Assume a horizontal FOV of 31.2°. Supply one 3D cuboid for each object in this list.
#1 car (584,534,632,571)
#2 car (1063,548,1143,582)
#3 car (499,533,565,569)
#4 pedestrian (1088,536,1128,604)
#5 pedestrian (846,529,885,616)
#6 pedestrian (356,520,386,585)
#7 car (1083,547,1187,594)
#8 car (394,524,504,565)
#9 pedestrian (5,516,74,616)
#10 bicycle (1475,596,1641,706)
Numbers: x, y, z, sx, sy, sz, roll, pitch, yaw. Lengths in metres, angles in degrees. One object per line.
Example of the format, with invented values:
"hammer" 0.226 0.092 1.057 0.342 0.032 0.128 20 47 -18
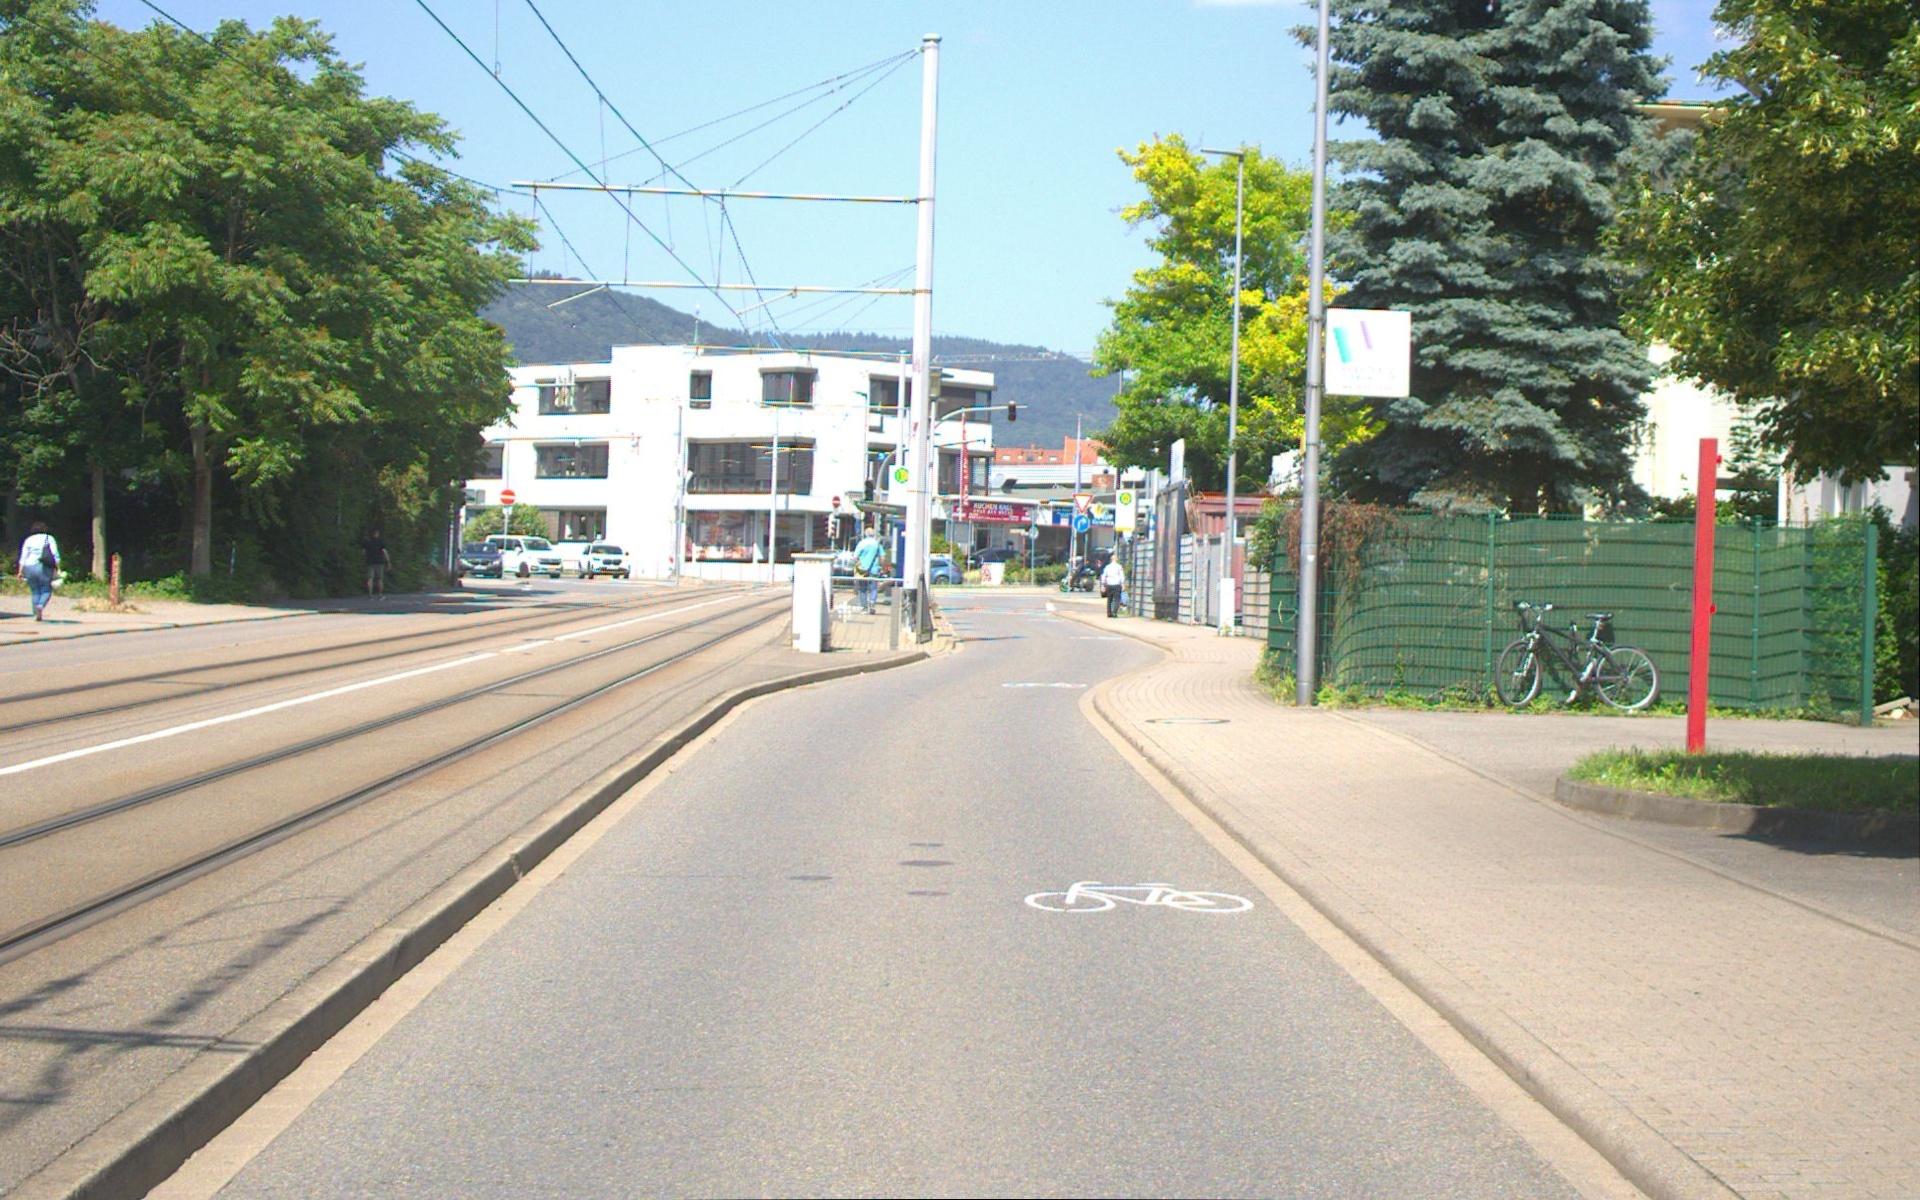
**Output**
"car" -15.801 -2.138 154.312 1.755 1.642 3.763 1 1 -11
"car" 7.349 -1.817 176.554 1.864 1.656 3.989 2 1 45
"car" -20.355 -2.325 163.398 1.926 1.642 3.762 1 1 -27
"pedestrian" 3.979 -0.807 92.369 0.940 1.781 0.953 2 2 -1
"pedestrian" -1.895 -0.555 69.170 0.743 1.734 0.727 1 1 -1
"pedestrian" -14.020 -1.131 81.858 0.584 1.532 0.657 1 1 -1
"car" 6.984 -1.172 136.806 3.988 1.744 1.775 1 1 -42
"car" -20.592 -2.234 138.537 3.989 1.546 1.791 1 1 13
"pedestrian" -14.306 -0.532 53.462 0.834 1.532 0.838 1 1 -1
"bicycle" 5.599 0.479 32.197 1.471 0.987 0.388 1 -2 -1
